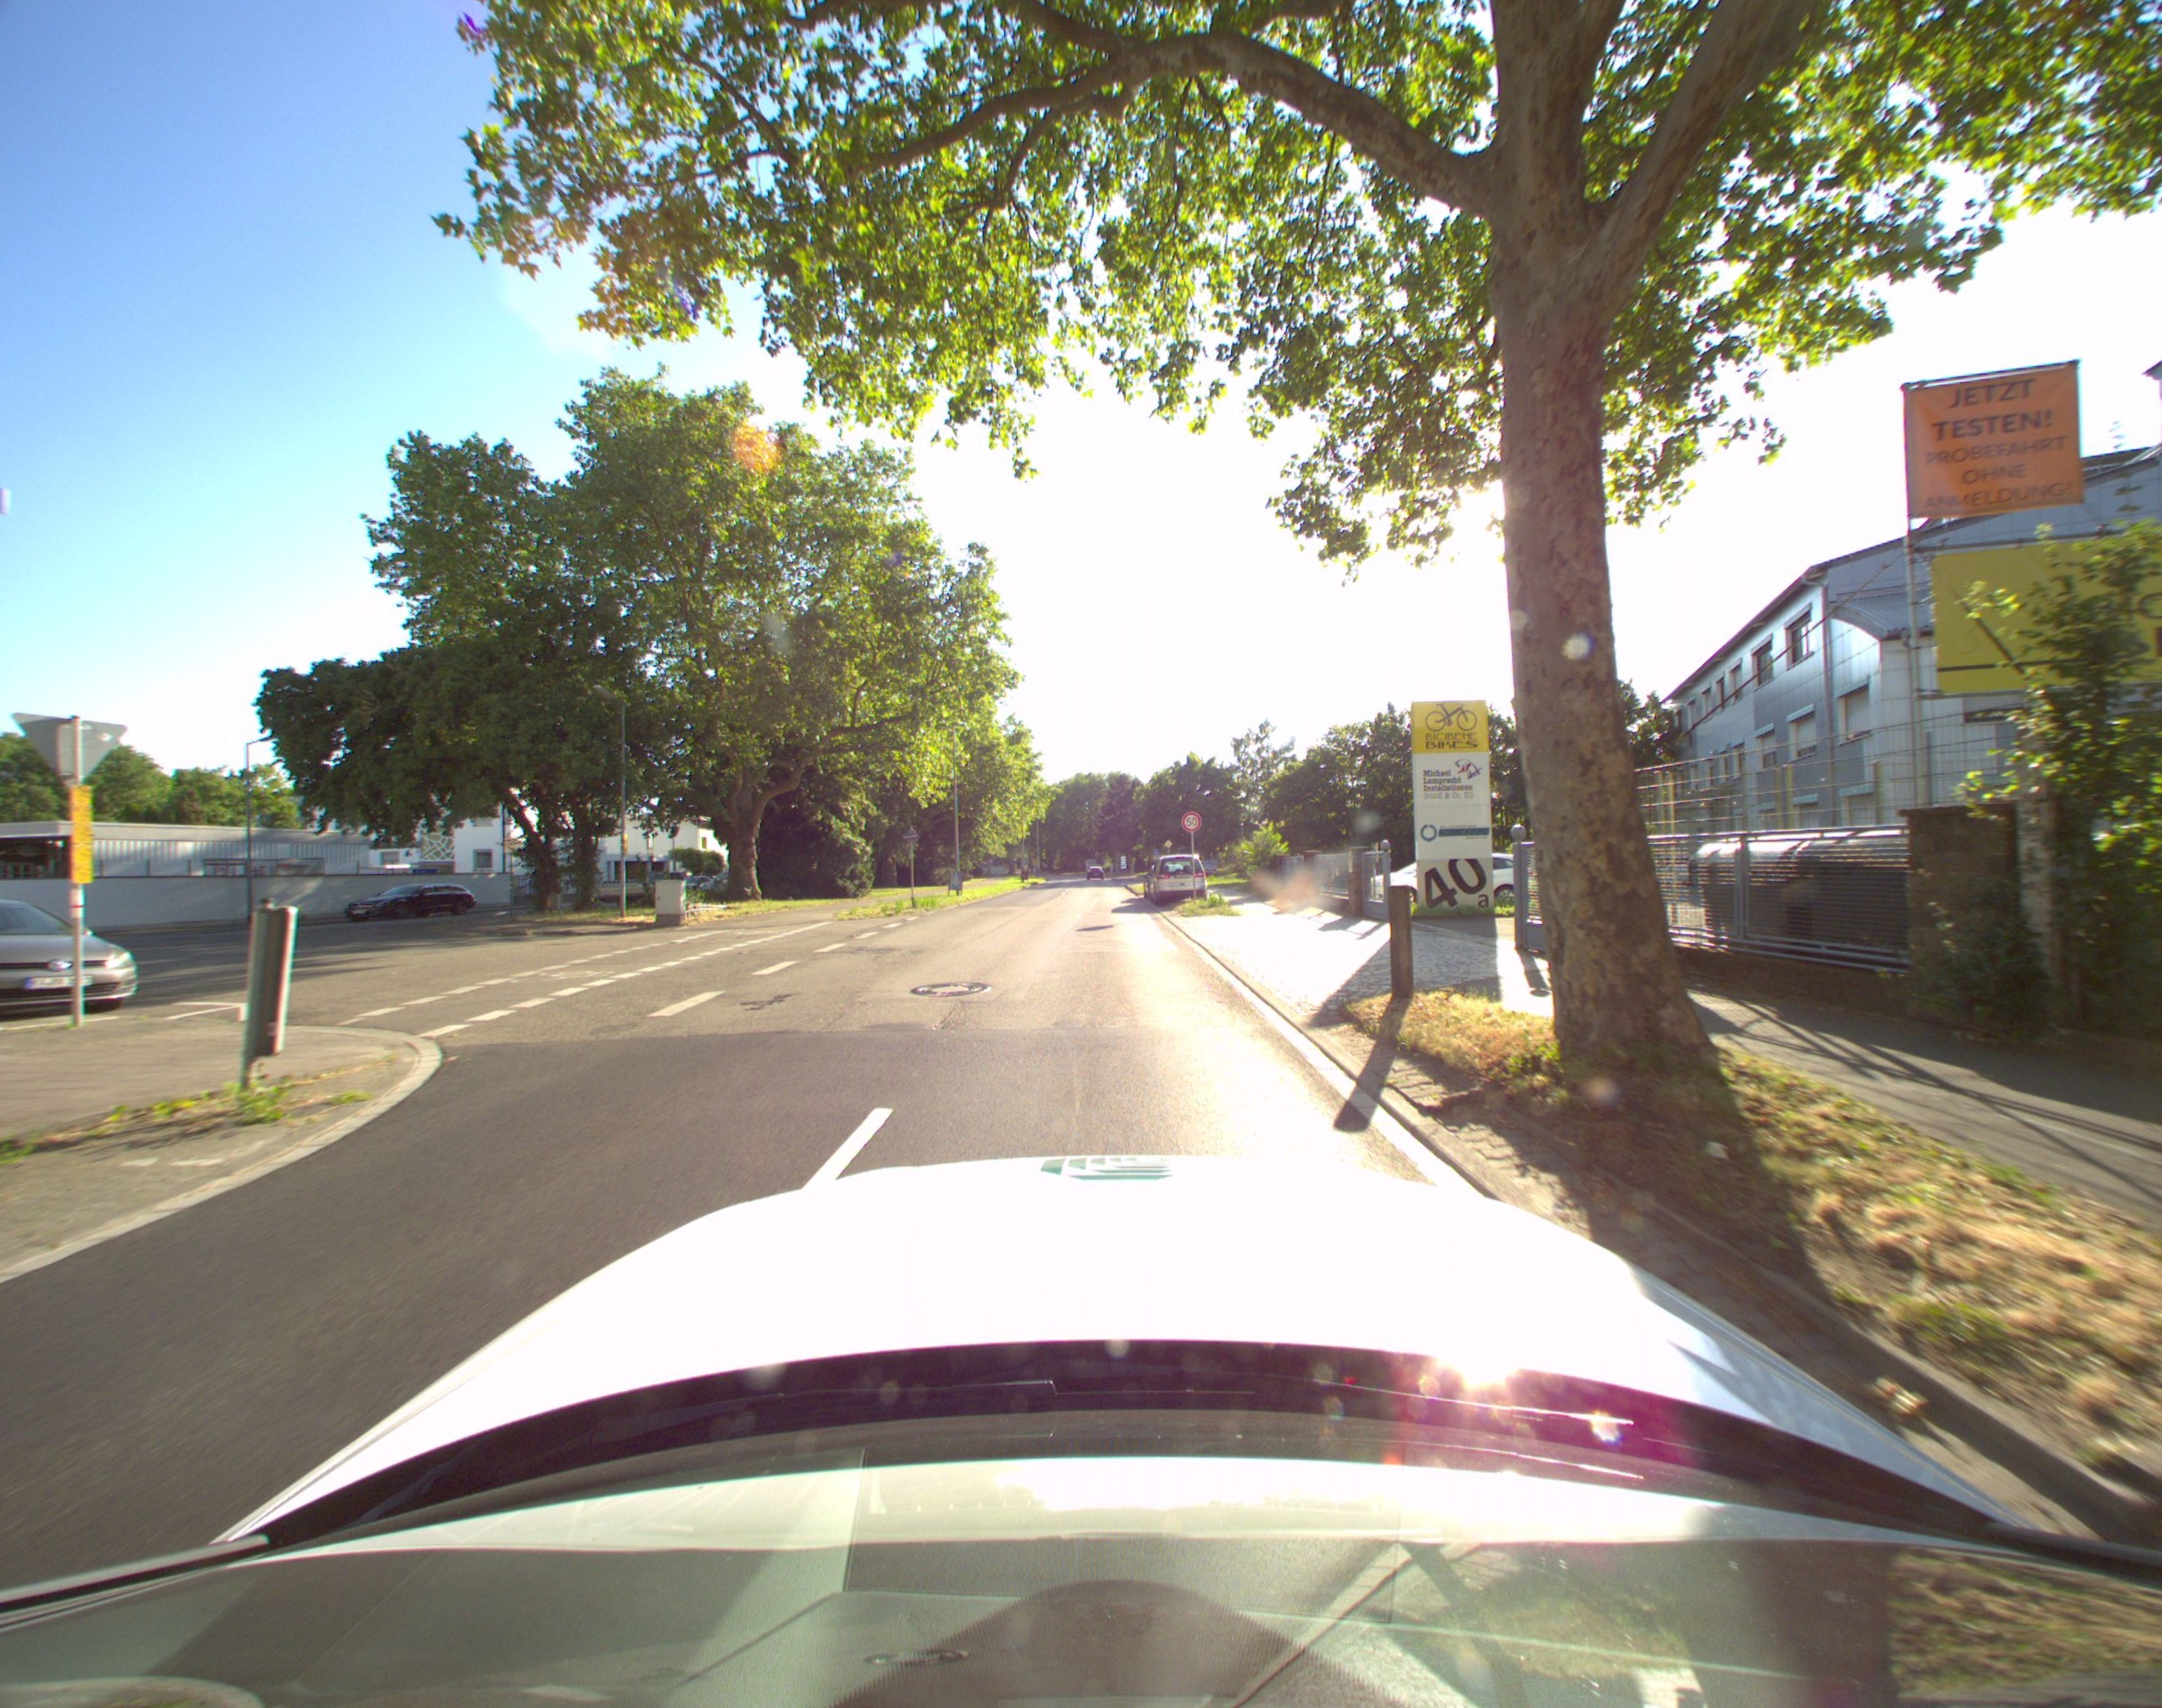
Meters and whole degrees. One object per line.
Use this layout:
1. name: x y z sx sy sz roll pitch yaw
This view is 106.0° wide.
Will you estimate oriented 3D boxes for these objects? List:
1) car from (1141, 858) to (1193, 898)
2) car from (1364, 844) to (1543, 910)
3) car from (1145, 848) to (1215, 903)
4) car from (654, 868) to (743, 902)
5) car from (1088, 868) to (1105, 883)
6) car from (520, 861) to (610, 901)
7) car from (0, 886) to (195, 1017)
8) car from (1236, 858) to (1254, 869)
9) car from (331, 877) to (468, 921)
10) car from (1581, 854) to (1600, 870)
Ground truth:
1. car: 3.637 0.993 35.196 1.776 1.515 4.690 -3 -1 1
2. car: 9.971 0.612 22.046 3.971 1.560 1.842 -2 -1 2
3. car: 3.543 0.782 29.952 1.986 1.759 4.917 -2 -1 1
4. car: -20.908 1.684 44.633 3.974 1.684 1.726 -2 -1 -1
5. car: 1.711 2.348 89.639 1.833 1.605 3.864 -2 -1 1
6. car: -32.140 1.676 50.841 4.300 2.289 2.000 -2 -1 1
7. car: -13.563 1.161 9.944 3.959 1.419 1.920 -2 -5 13
8. car: 27.332 1.620 135.823 1.810 1.728 4.389 1 -1 -6
9. car: -27.528 1.759 33.128 1.852 1.561 4.359 -1 -1 0
10. car: 56.084 0.911 89.647 1.680 1.688 3.889 0 -1 32
